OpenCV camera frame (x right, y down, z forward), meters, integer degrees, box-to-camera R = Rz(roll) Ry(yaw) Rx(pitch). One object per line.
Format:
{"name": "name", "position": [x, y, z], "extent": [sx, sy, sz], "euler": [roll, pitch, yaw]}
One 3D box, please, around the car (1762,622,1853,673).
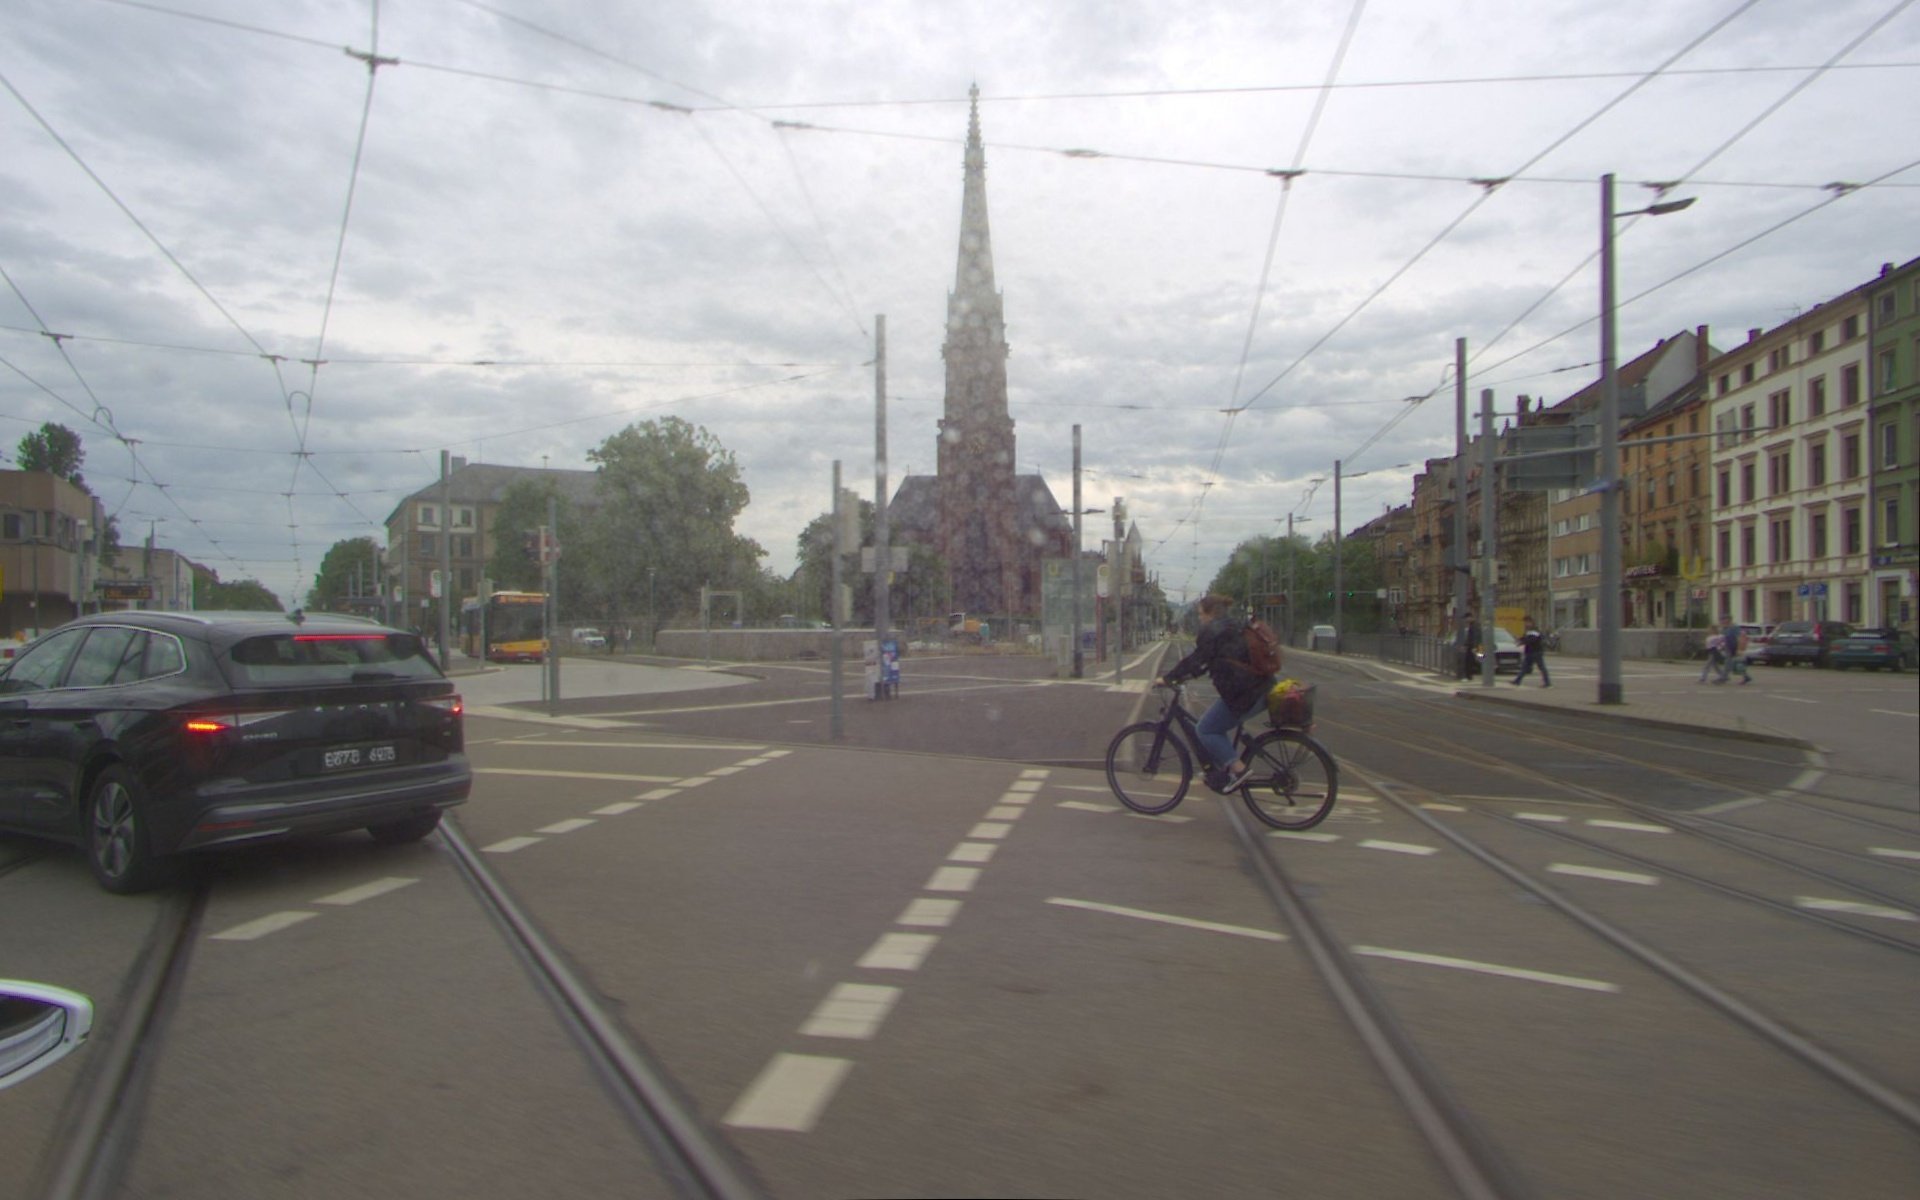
{"name": "car", "position": [30.251, 1.672, 35.726], "extent": [3.699, 1.603, 1.874], "euler": [2, 2, -41]}

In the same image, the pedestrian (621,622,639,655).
{"name": "pedestrian", "position": [-19.103, 2.219, 57.965], "extent": [0.814, 1.877, 1.016], "euler": [0, -1, -29]}

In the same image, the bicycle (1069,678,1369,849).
{"name": "bicycle", "position": [1.895, 1.153, 7.510], "extent": [2.096, 1.068, 0.623], "euler": [-1, -2, 34]}

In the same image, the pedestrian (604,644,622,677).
{"name": "pedestrian", "position": [-19.906, 3.445, 57.432], "extent": [0.814, 1.831, 1.016], "euler": [0, -1, -29]}

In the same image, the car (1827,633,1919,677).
{"name": "car", "position": [29.750, 1.747, 32.249], "extent": [3.686, 1.320, 1.672], "euler": [1, -2, -31]}

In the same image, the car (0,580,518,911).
{"name": "car", "position": [-5.377, 0.816, 7.024], "extent": [4.447, 1.679, 1.902], "euler": [-1, -2, 29]}

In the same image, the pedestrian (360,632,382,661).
{"name": "pedestrian", "position": [-33.204, 2.620, 56.461], "extent": [1.006, 1.596, 1.003], "euler": [0, -2, -30]}

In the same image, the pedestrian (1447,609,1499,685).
{"name": "pedestrian", "position": [13.370, 1.213, 26.120], "extent": [0.887, 1.936, 0.784], "euler": [0, -1, -10]}

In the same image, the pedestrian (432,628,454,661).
{"name": "pedestrian", "position": [-26.923, 2.309, 52.122], "extent": [0.993, 1.666, 1.016], "euler": [0, -2, -29]}

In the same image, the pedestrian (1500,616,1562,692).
{"name": "pedestrian", "position": [12.938, 1.217, 22.702], "extent": [0.887, 1.664, 0.784], "euler": [0, -2, -10]}

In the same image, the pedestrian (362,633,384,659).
{"name": "pedestrian", "position": [-32.078, 2.504, 54.738], "extent": [1.006, 1.420, 1.003], "euler": [0, -2, -28]}

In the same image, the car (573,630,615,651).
{"name": "car", "position": [-30.601, 3.364, 83.672], "extent": [1.897, 1.683, 3.962], "euler": [1, -2, -44]}

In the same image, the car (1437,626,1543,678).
{"name": "car", "position": [16.488, 1.601, 31.387], "extent": [1.963, 1.504, 4.442], "euler": [-1, -2, 15]}

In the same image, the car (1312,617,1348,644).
{"name": "car", "position": [25.375, 2.113, 68.758], "extent": [1.963, 1.772, 3.997], "euler": [-1, -2, 15]}

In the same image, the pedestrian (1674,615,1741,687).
{"name": "pedestrian", "position": [17.272, 1.168, 23.152], "extent": [0.933, 1.632, 0.768], "euler": [0, -2, -10]}

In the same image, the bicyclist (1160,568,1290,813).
{"name": "bicyclist", "position": [1.981, 0.647, 7.470], "extent": [0.794, 1.712, 0.614], "euler": [0, -1, 32]}

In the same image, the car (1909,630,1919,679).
{"name": "car", "position": [30.231, 1.594, 29.710], "extent": [3.678, 1.435, 1.731], "euler": [1, -2, -24]}

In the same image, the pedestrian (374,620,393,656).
{"name": "pedestrian", "position": [-30.099, 1.997, 52.281], "extent": [0.814, 1.830, 1.017], "euler": [0, -3, -29]}

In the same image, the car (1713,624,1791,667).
{"name": "car", "position": [30.832, 1.757, 38.954], "extent": [3.699, 1.607, 1.721], "euler": [2, -3, -41]}

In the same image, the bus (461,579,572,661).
{"name": "bus", "position": [-21.009, 1.091, 46.869], "extent": [2.985, 3.309, 12.972], "euler": [1, -3, -32]}

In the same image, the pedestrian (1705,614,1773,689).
{"name": "pedestrian", "position": [17.304, 1.133, 22.262], "extent": [0.880, 1.622, 0.784], "euler": [0, -2, -10]}
